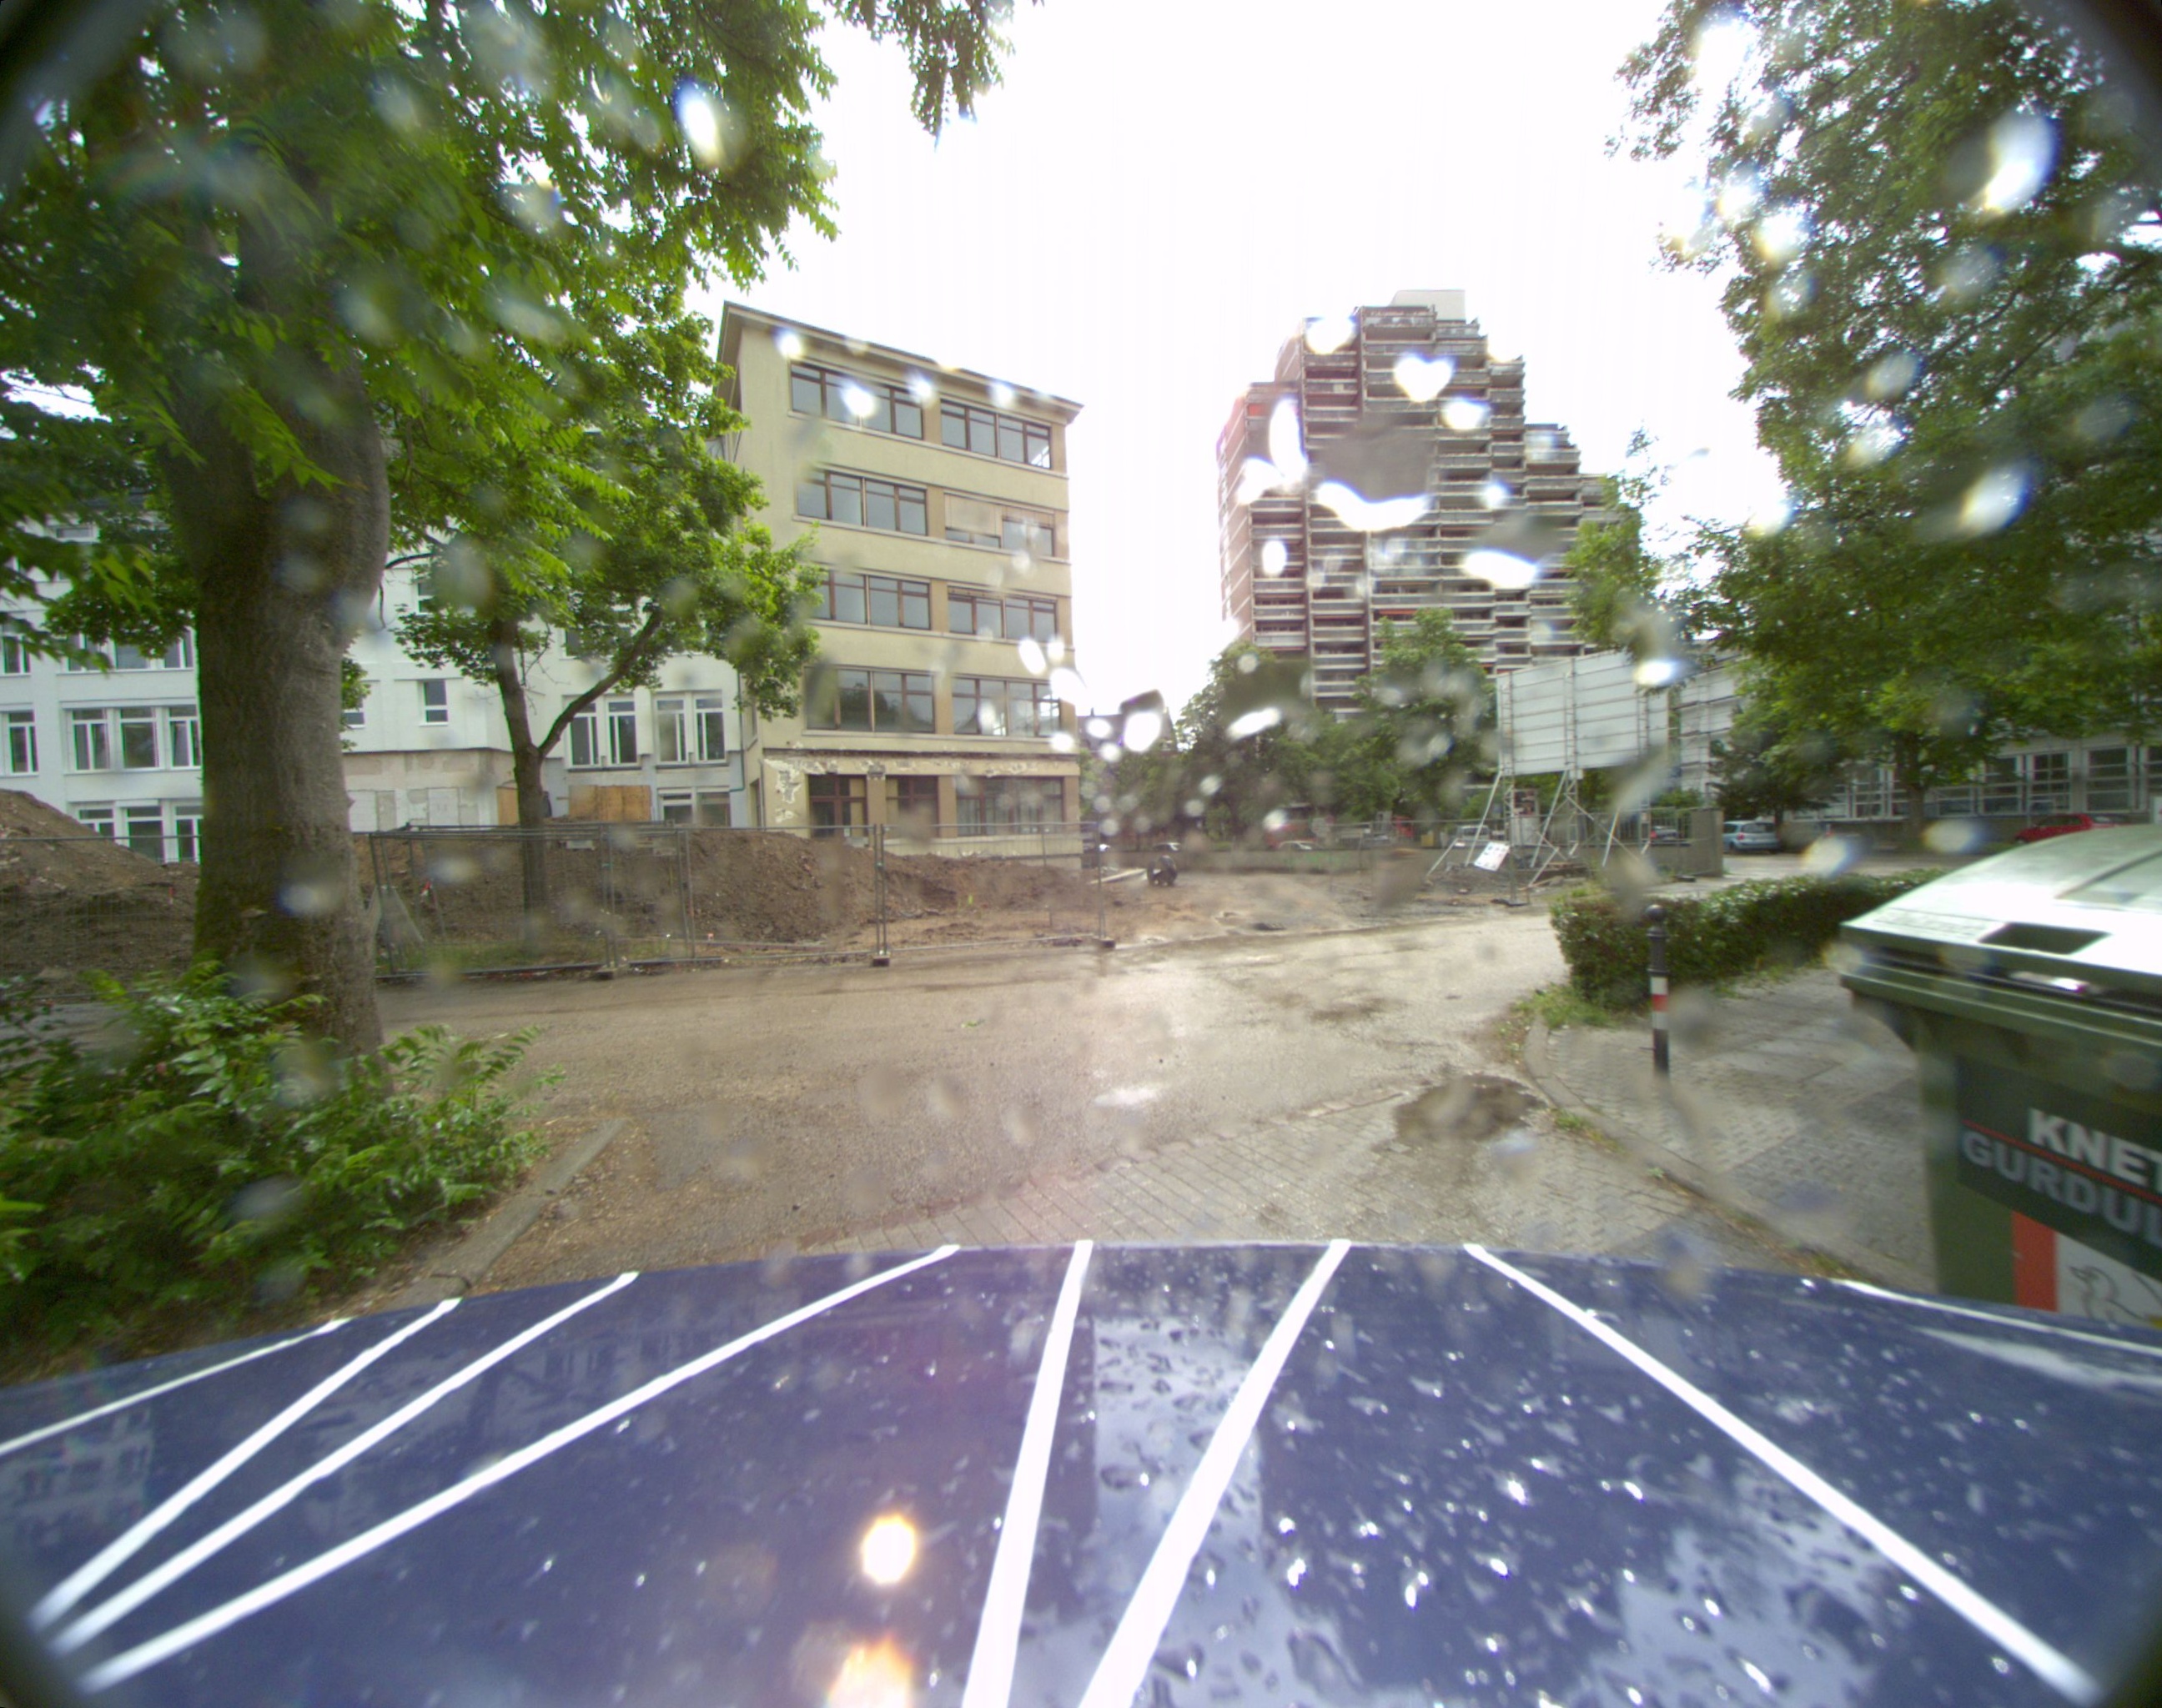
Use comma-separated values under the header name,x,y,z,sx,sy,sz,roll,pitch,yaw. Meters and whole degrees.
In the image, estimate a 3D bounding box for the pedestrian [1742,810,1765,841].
name,x,y,z,sx,sy,sz,roll,pitch,yaw
pedestrian,39.454,-1.674,44.600,0.706,1.733,0.840,-1,0,20

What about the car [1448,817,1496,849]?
name,x,y,z,sx,sy,sz,roll,pitch,yaw
car,25.028,-1.340,48.747,1.934,1.886,4.650,-1,2,17

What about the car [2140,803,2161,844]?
name,x,y,z,sx,sy,sz,roll,pitch,yaw
car,38.177,-1.050,25.318,1.707,1.444,3.411,-2,2,19

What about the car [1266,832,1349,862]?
name,x,y,z,sx,sy,sz,roll,pitch,yaw
car,11.924,-0.338,40.253,1.893,1.462,3.991,-1,0,-29

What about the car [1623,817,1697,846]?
name,x,y,z,sx,sy,sz,roll,pitch,yaw
car,30.384,-1.184,40.006,1.766,1.389,3.653,-2,1,14

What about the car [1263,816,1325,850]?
name,x,y,z,sx,sy,sz,roll,pitch,yaw
car,17.151,-1.679,61.608,2.303,2.619,5.474,-2,1,-15

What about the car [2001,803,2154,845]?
name,x,y,z,sx,sy,sz,roll,pitch,yaw
car,36.988,-1.103,28.345,1.738,1.461,3.411,-1,2,16

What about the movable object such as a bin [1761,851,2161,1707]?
name,x,y,z,sx,sy,sz,roll,pitch,yaw
movable object such as a bin,1.977,0.758,0.882,1.103,1.465,1.486,-3,2,8

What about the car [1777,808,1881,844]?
name,x,y,z,sx,sy,sz,roll,pitch,yaw
car,33.113,-1.236,33.762,1.738,1.461,3.653,-2,1,16

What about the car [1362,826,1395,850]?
name,x,y,z,sx,sy,sz,roll,pitch,yaw
car,21.702,-1.210,55.486,1.782,1.557,4.049,-2,3,15

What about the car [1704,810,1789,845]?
name,x,y,z,sx,sy,sz,roll,pitch,yaw
car,31.800,-1.260,36.410,1.705,1.542,3.653,-2,1,17

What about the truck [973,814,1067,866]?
name,x,y,z,sx,sy,sz,roll,pitch,yaw
truck,-4.768,-0.927,56.976,3.247,3.506,9.889,-1,0,-28
